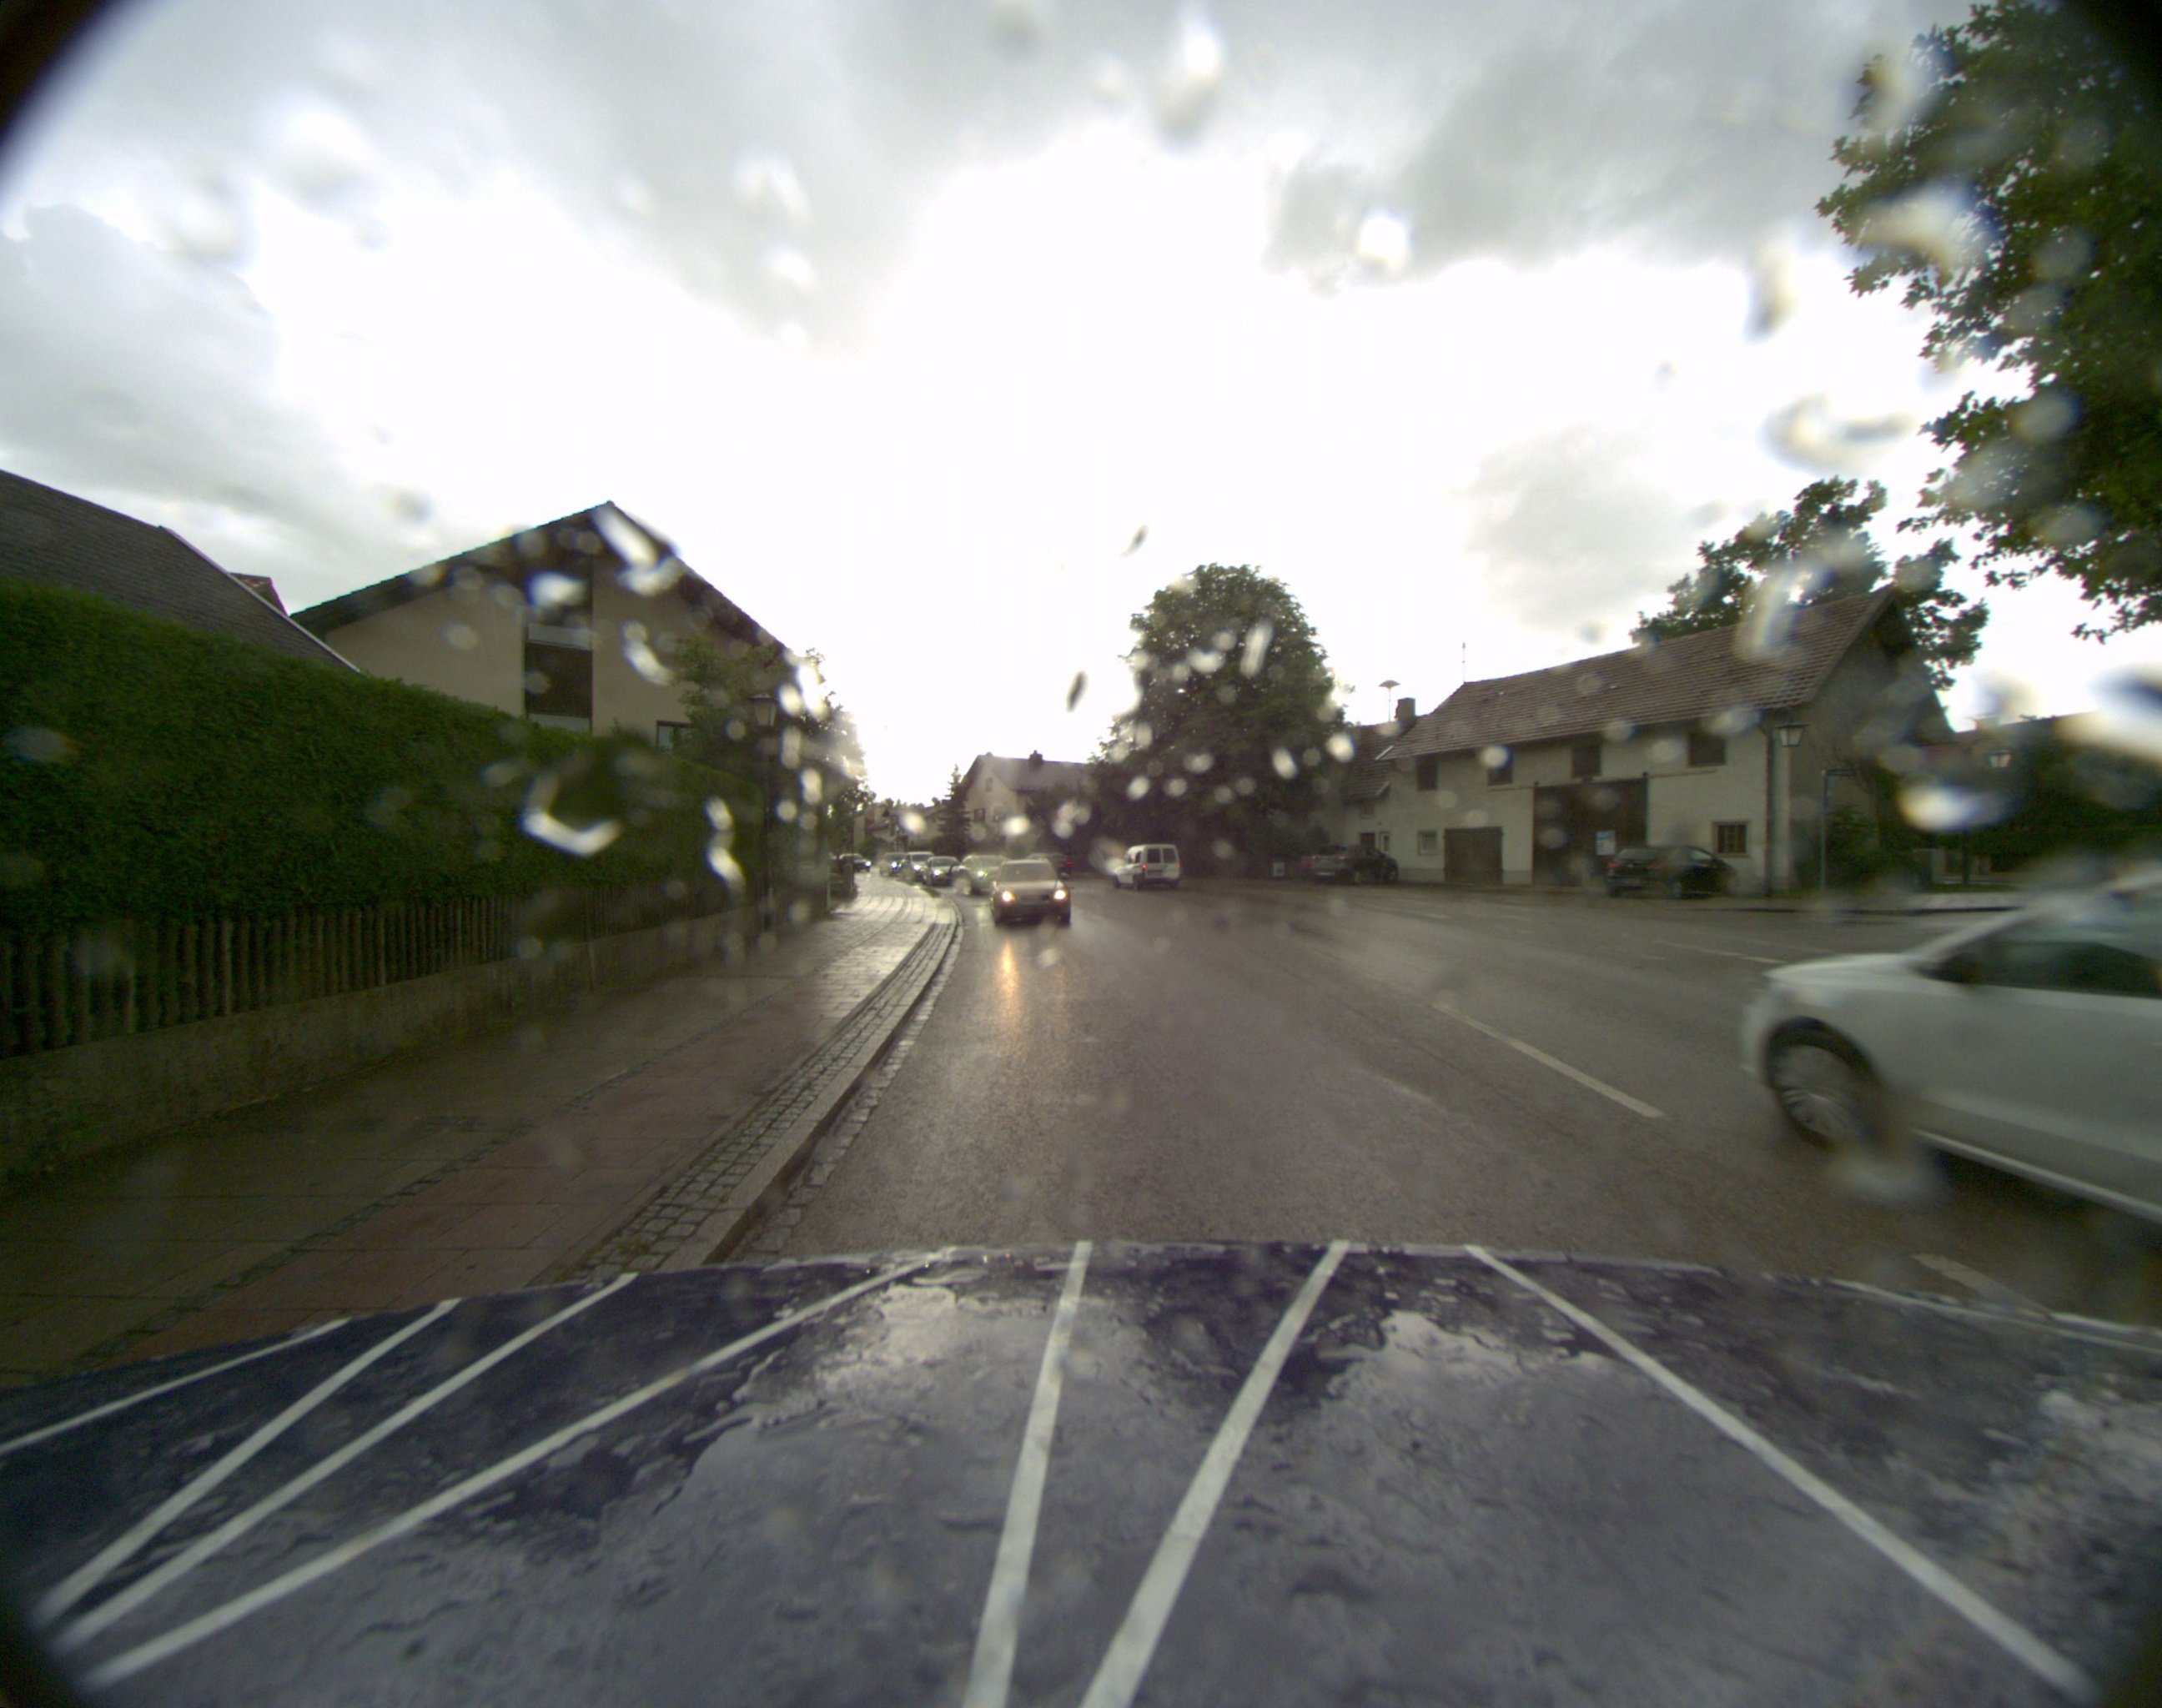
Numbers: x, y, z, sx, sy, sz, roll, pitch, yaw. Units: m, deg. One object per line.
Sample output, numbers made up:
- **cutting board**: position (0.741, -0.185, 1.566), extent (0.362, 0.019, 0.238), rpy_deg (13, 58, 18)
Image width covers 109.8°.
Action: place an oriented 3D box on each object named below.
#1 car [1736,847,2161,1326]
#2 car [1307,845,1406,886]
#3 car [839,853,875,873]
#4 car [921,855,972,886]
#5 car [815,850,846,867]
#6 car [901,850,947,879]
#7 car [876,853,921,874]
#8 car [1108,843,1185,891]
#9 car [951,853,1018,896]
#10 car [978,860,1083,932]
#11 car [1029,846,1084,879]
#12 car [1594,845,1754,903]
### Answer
- **car**: position (4.149, 0.738, 2.135), extent (1.621, 1.436, 3.671), rpy_deg (-1, 1, 4)
- **car**: position (11.017, 0.452, 30.275), extent (4.290, 1.539, 1.812), rpy_deg (1, 0, -41)
- **car**: position (-18.593, 0.721, 62.976), extent (1.798, 1.539, 4.271), rpy_deg (-3, 1, -31)
- **car**: position (-6.847, 0.793, 38.409), extent (1.796, 1.387, 4.273), rpy_deg (-3, 1, -20)
- **car**: position (-24.067, 0.453, 72.953), extent (1.798, 1.539, 4.270), rpy_deg (-3, 1, -32)
- **car**: position (-9.293, 0.587, 44.675), extent (1.797, 1.539, 4.273), rpy_deg (-3, 1, -23)
- **car**: position (-12.675, 0.643, 52.607), extent (1.798, 1.365, 4.271), rpy_deg (-3, 1, -31)
- **car**: position (2.541, 0.464, 30.627), extent (1.646, 1.755, 4.324), rpy_deg (-2, 1, -15)
- **car**: position (-4.009, 0.761, 30.884), extent (1.796, 1.471, 5.377), rpy_deg (-2, 1, -17)
- **car**: position (-1.355, 0.920, 18.458), extent (1.796, 1.387, 4.275), rpy_deg (-2, 1, -13)
- **car**: position (-1.419, 0.399, 42.411), extent (1.791, 1.654, 4.438), rpy_deg (-2, 2, -19)
- **car**: position (16.461, 0.507, 21.064), extent (4.287, 1.428, 1.817), rpy_deg (-1, 1, -26)
